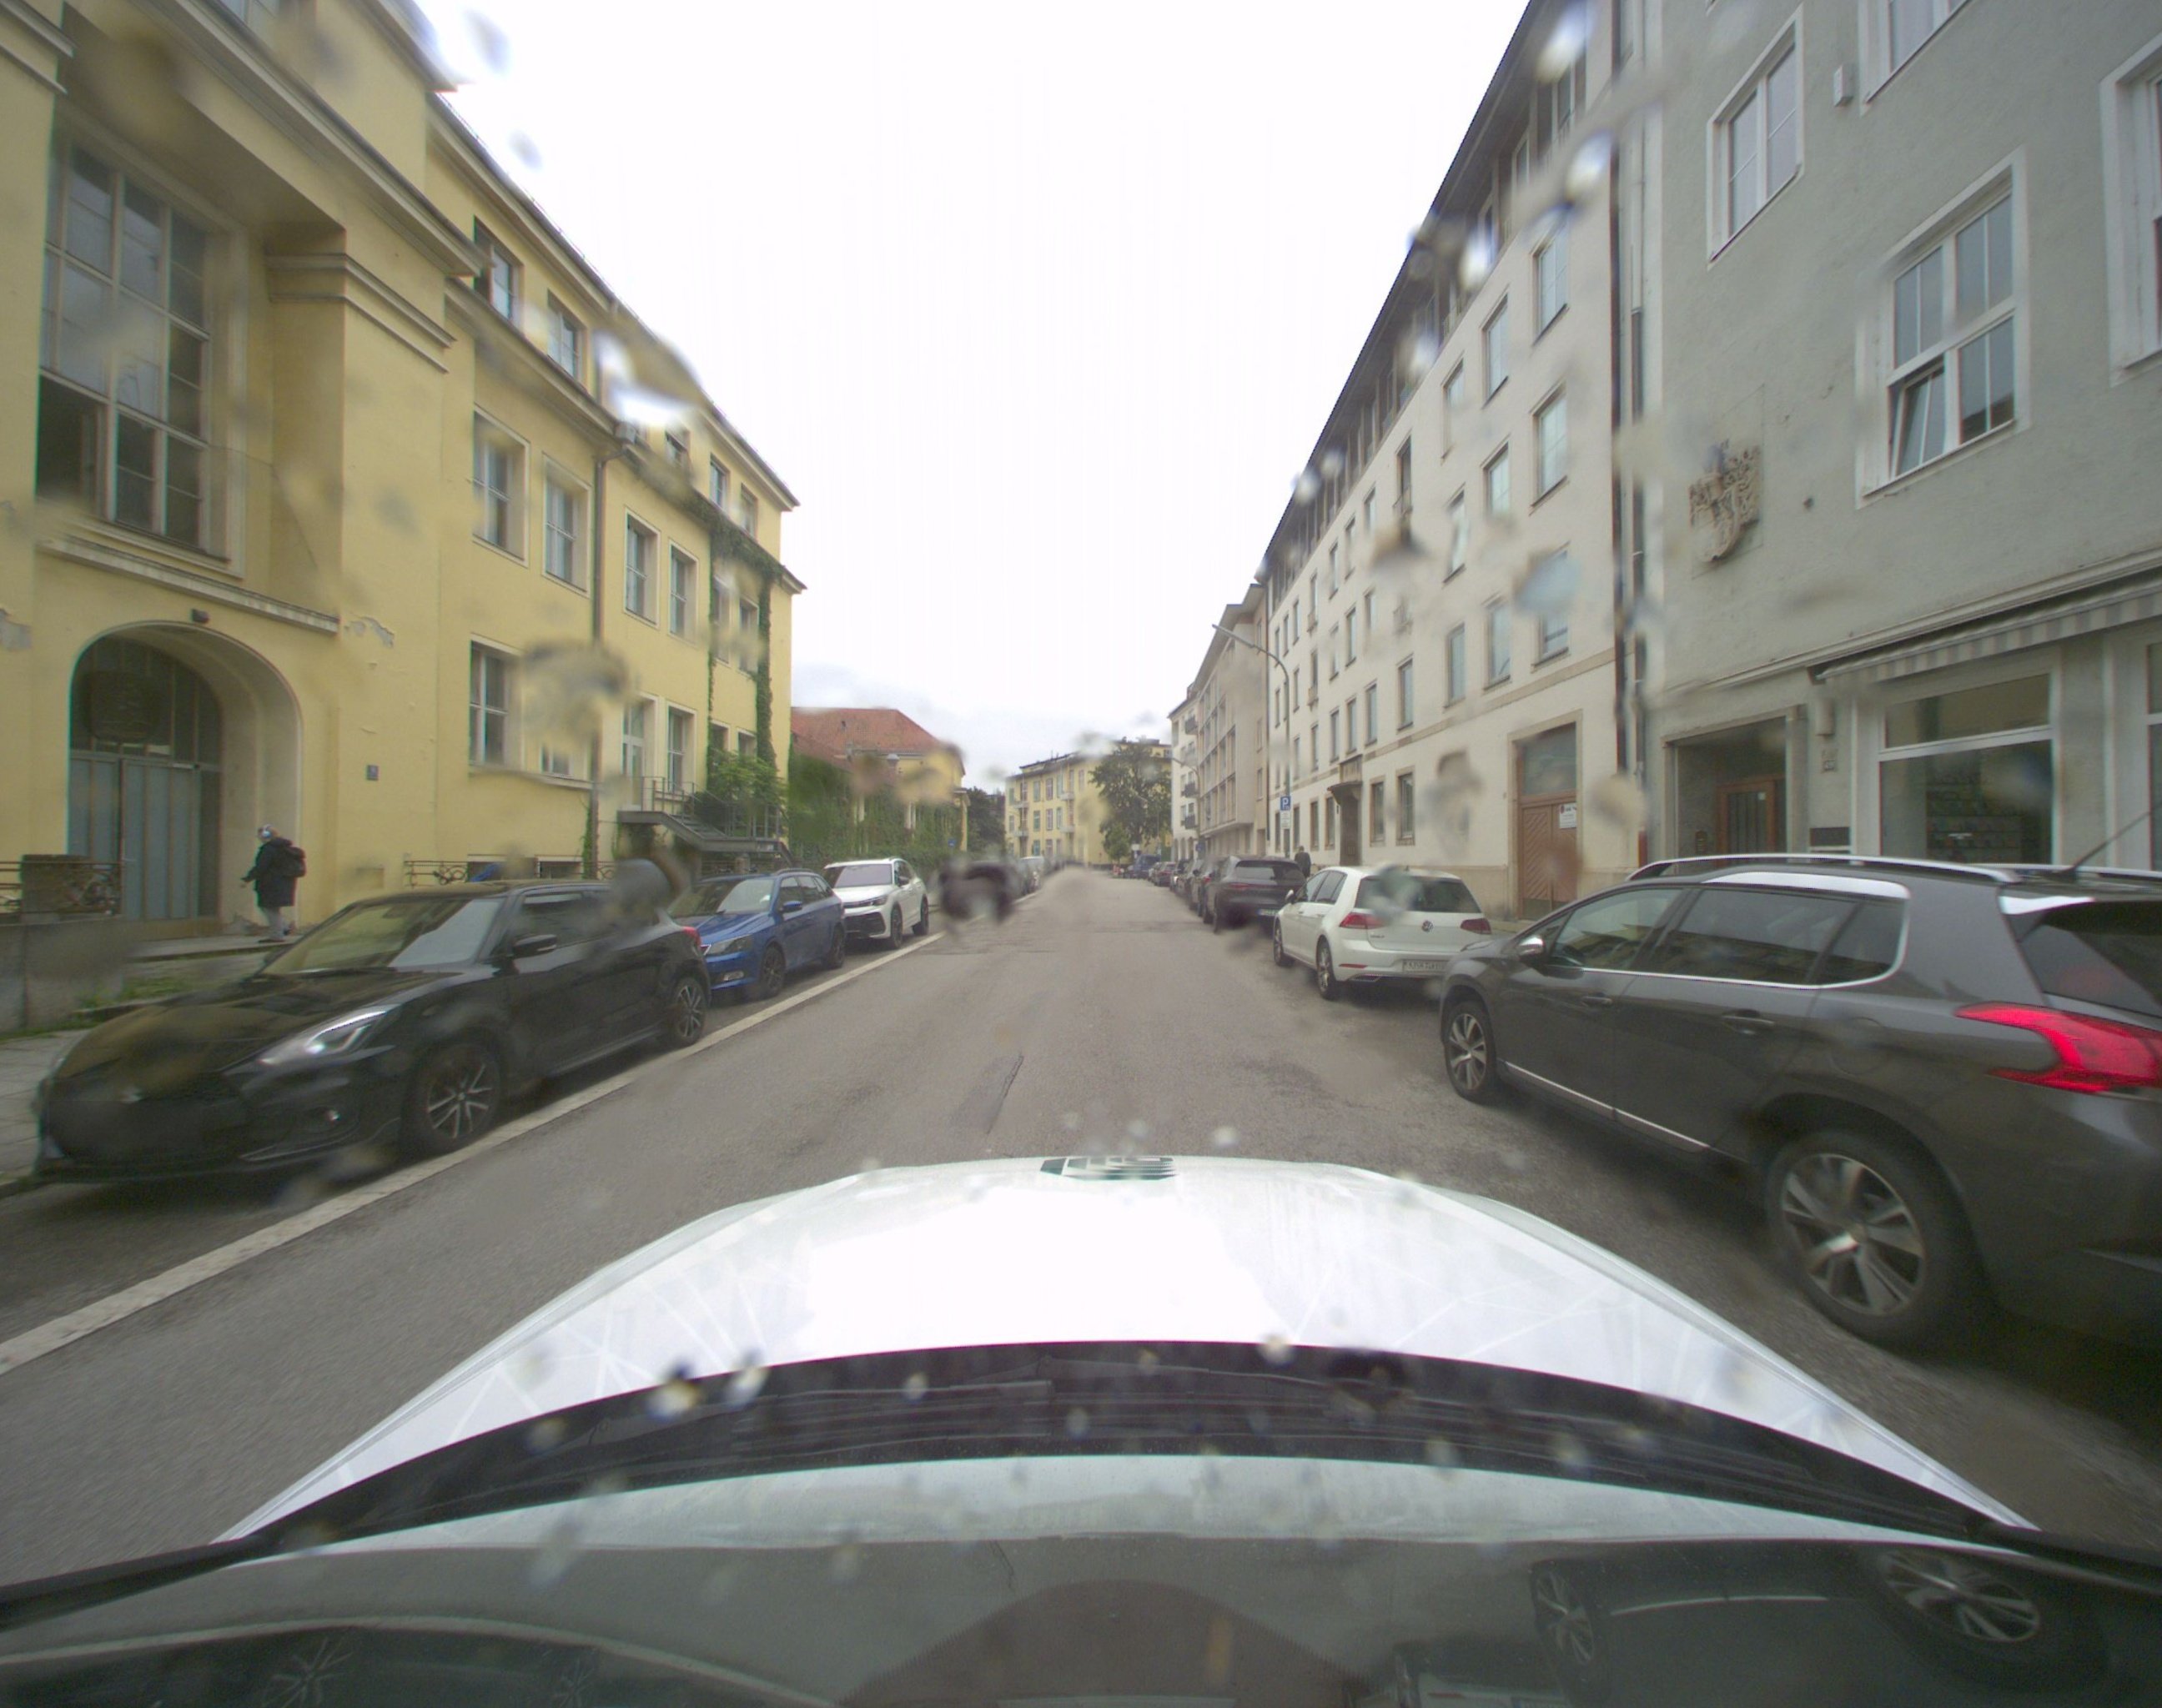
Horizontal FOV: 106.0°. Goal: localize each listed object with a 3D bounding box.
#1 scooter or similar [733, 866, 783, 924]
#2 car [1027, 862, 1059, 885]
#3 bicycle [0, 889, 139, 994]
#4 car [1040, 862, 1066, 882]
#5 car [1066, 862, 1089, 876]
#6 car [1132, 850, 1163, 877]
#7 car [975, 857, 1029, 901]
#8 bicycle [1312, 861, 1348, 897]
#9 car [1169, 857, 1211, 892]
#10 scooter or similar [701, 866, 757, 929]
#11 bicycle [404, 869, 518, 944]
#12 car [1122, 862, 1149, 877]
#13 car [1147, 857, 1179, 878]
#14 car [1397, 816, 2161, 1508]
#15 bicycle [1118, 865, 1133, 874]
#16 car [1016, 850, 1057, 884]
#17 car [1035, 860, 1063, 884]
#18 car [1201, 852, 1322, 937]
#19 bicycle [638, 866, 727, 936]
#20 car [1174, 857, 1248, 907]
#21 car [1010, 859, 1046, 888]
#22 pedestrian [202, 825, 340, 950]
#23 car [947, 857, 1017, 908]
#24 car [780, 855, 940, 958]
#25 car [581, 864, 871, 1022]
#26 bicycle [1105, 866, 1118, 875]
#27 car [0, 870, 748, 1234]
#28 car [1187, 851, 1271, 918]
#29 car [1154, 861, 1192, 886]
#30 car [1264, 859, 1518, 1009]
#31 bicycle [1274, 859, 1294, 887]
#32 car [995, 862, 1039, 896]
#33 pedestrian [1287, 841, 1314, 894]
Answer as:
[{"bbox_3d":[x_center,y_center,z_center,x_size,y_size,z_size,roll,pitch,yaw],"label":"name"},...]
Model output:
[{"bbox_3d":[-7.995,0.983,20.189,0.558,1.369,1.502,-1,0,3],"label":"scooter or similar"},{"bbox_3d":[-2.564,1.280,55.609,1.646,1.414,4.774,-4,-1,3],"label":"car"},{"bbox_3d":[-11.051,0.915,8.570,1.654,1.050,0.425,-1,-1,-5],"label":"bicycle"},{"bbox_3d":[-2.208,1.423,65.673,1.688,1.393,4.501,-5,-1,1],"label":"car"},{"bbox_3d":[-0.516,2.062,112.562,1.768,1.874,4.350,4,-2,-19],"label":"car"},{"bbox_3d":[6.152,0.944,75.798,2.075,2.234,5.236,4,-3,-4],"label":"car"},{"bbox_3d":[-3.251,1.006,34.283,1.718,1.629,4.466,-3,-1,1],"label":"car"},{"bbox_3d":[8.737,0.851,28.631,0.511,1.222,1.985,-1,0,-4],"label":"bicycle"},{"bbox_3d":[5.051,0.918,37.999,1.643,1.495,2.883,2,-1,3],"label":"car"},{"bbox_3d":[-8.030,0.964,18.637,0.558,1.369,1.502,-1,0,3],"label":"scooter or similar"},{"bbox_3d":[-10.894,0.908,14.331,1.619,1.268,0.527,-1,-1,3],"label":"bicycle"},{"bbox_3d":[5.446,1.565,81.960,1.677,1.389,4.291,4,-2,-10],"label":"car"},{"bbox_3d":[6.409,1.061,64.087,1.781,1.533,4.642,3,-1,-3],"label":"car"},{"bbox_3d":[3.300,0.726,4.080,1.701,1.592,4.360,1,0,-1],"label":"car"},{"bbox_3d":[6.148,2.177,112.112,1.907,1.201,0.598,0,-1,16],"label":"bicycle"},{"bbox_3d":[-2.698,0.810,50.006,1.879,1.889,4.778,-3,-1,3],"label":"car"},{"bbox_3d":[-2.340,1.286,60.367,1.691,1.643,4.491,-3,-1,1],"label":"car"},{"bbox_3d":[3.682,0.774,17.438,1.831,1.522,4.713,1,-1,4],"label":"car"},{"bbox_3d":[-8.068,0.918,16.620,0.678,1.328,2.114,0,-1,3],"label":"bicycle"},{"bbox_3d":[4.290,0.885,27.706,1.795,1.484,5.321,2,0,2],"label":"car"},{"bbox_3d":[-2.863,1.068,44.610,1.585,1.441,4.019,-3,-1,1],"label":"car"},{"bbox_3d":[-11.796,0.464,11.900,1.054,1.719,0.902,-1,0,-7],"label":"pedestrian"},{"bbox_3d":[-3.477,0.980,29.428,1.783,1.586,4.818,-3,-1,1],"label":"car"},{"bbox_3d":[-4.053,0.883,15.807,1.740,1.634,4.855,-2,-1,0],"label":"car"},{"bbox_3d":[-4.325,0.968,10.842,1.697,1.502,4.495,-5,-1,1],"label":"car"},{"bbox_3d":[4.242,2.268,113.371,1.903,1.201,0.599,0,-1,39],"label":"bicycle"},{"bbox_3d":[-4.158,0.934,5.724,1.692,1.497,4.151,-4,-1,2],"label":"car"},{"bbox_3d":[3.962,0.783,22.458,1.638,1.589,4.637,2,-1,3],"label":"car"},{"bbox_3d":[5.444,1.123,48.791,1.739,1.388,4.953,2,-1,0],"label":"car"},{"bbox_3d":[3.555,0.810,10.274,1.666,1.429,4.533,1,-1,3],"label":"car"},{"bbox_3d":[9.106,0.849,36.611,0.527,1.218,2.105,0,-1,3],"label":"bicycle"},{"bbox_3d":[-3.026,1.169,39.353,1.598,1.430,4.252,-3,-1,1],"label":"car"},{"bbox_3d":[7.416,0.480,27.539,0.720,1.763,0.905,0,-3,3],"label":"pedestrian"}]
